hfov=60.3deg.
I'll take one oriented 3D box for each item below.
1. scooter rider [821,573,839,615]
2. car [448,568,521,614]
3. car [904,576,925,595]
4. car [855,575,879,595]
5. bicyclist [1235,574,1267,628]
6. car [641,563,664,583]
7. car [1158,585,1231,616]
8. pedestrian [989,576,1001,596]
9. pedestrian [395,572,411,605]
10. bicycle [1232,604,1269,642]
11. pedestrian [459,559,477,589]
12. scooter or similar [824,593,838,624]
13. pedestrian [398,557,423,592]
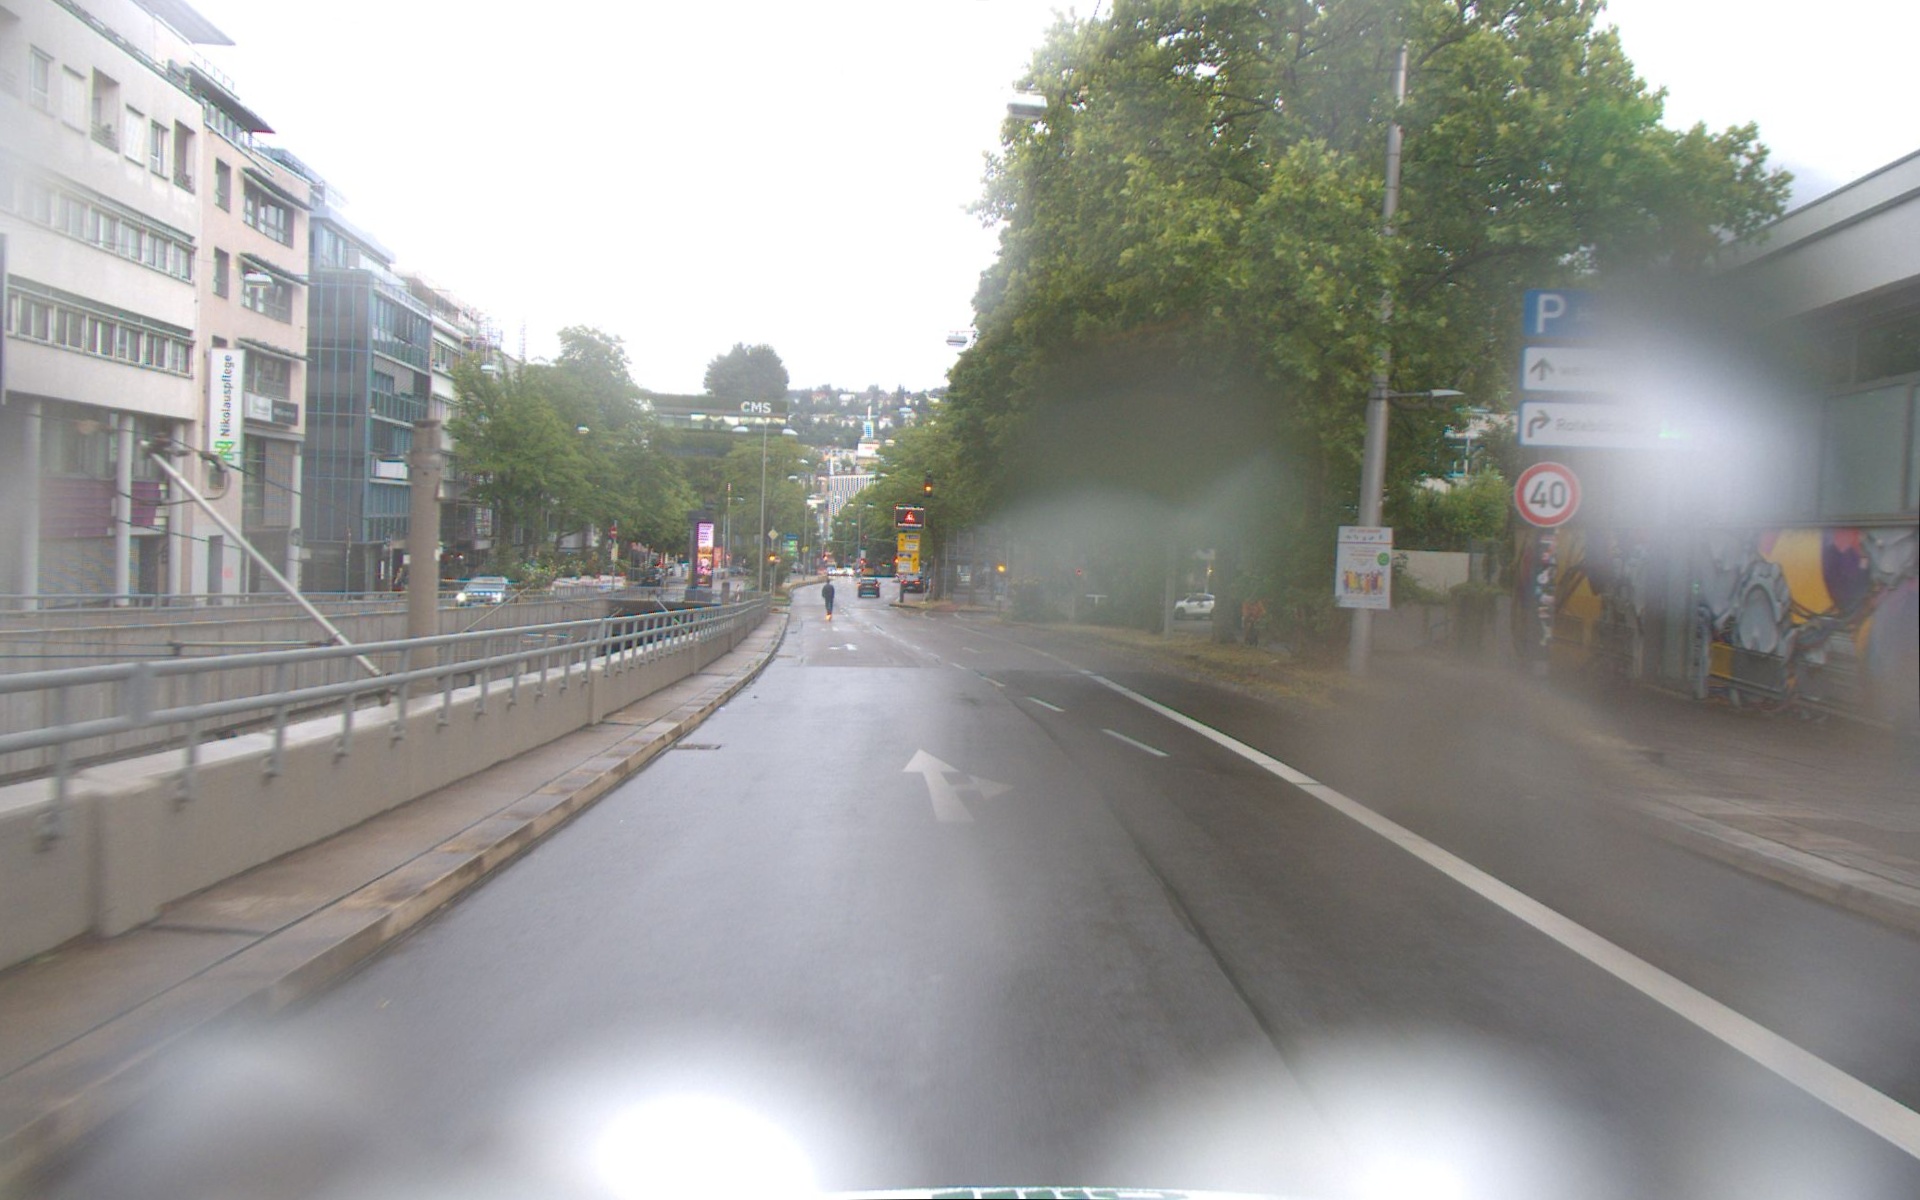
[{"bbox_3d":[-6.395,-0.299,81.043,0.793,1.982,0.821,2,0,-5],"label":"scooter rider"},{"bbox_3d":[-18.919,-0.386,66.002,1.800,1.742,4.574,1,1,-4],"label":"car"},{"bbox_3d":[-4.283,-1.380,154.479,1.863,1.713,3.910,3,1,-2],"label":"car"},{"bbox_3d":[-7.601,-1.249,134.653,1.712,1.545,4.102,2,1,-6],"label":"car"},{"bbox_3d":[9.145,0.034,51.979,0.790,1.656,1.047,1,0,1],"label":"bicyclist"},{"bbox_3d":[-28.251,-2.515,151.880,1.746,1.582,3.889,3,3,-6],"label":"car"},{"bbox_3d":[14.464,0.030,102.016,4.298,1.713,1.734,2,0,-31],"label":"car"},{"bbox_3d":[2.760,-1.111,130.570,0.770,1.584,0.532,3,0,-4],"label":"pedestrian"},{"bbox_3d":[-29.386,-0.606,87.264,0.651,1.701,0.487,2,0,-7],"label":"pedestrian"},{"bbox_3d":[9.132,0.713,52.083,0.790,1.131,2.198,1,0,1],"label":"bicycle"},{"bbox_3d":[-31.765,-1.695,106.797,0.860,1.901,0.865,3,0,-9],"label":"pedestrian"},{"bbox_3d":[-6.331,0.420,81.057,0.535,1.443,1.952,2,0,-7],"label":"scooter or similar"},{"bbox_3d":[-30.764,-1.435,92.625,0.845,1.901,0.960,3,0,13],"label":"pedestrian"}]
